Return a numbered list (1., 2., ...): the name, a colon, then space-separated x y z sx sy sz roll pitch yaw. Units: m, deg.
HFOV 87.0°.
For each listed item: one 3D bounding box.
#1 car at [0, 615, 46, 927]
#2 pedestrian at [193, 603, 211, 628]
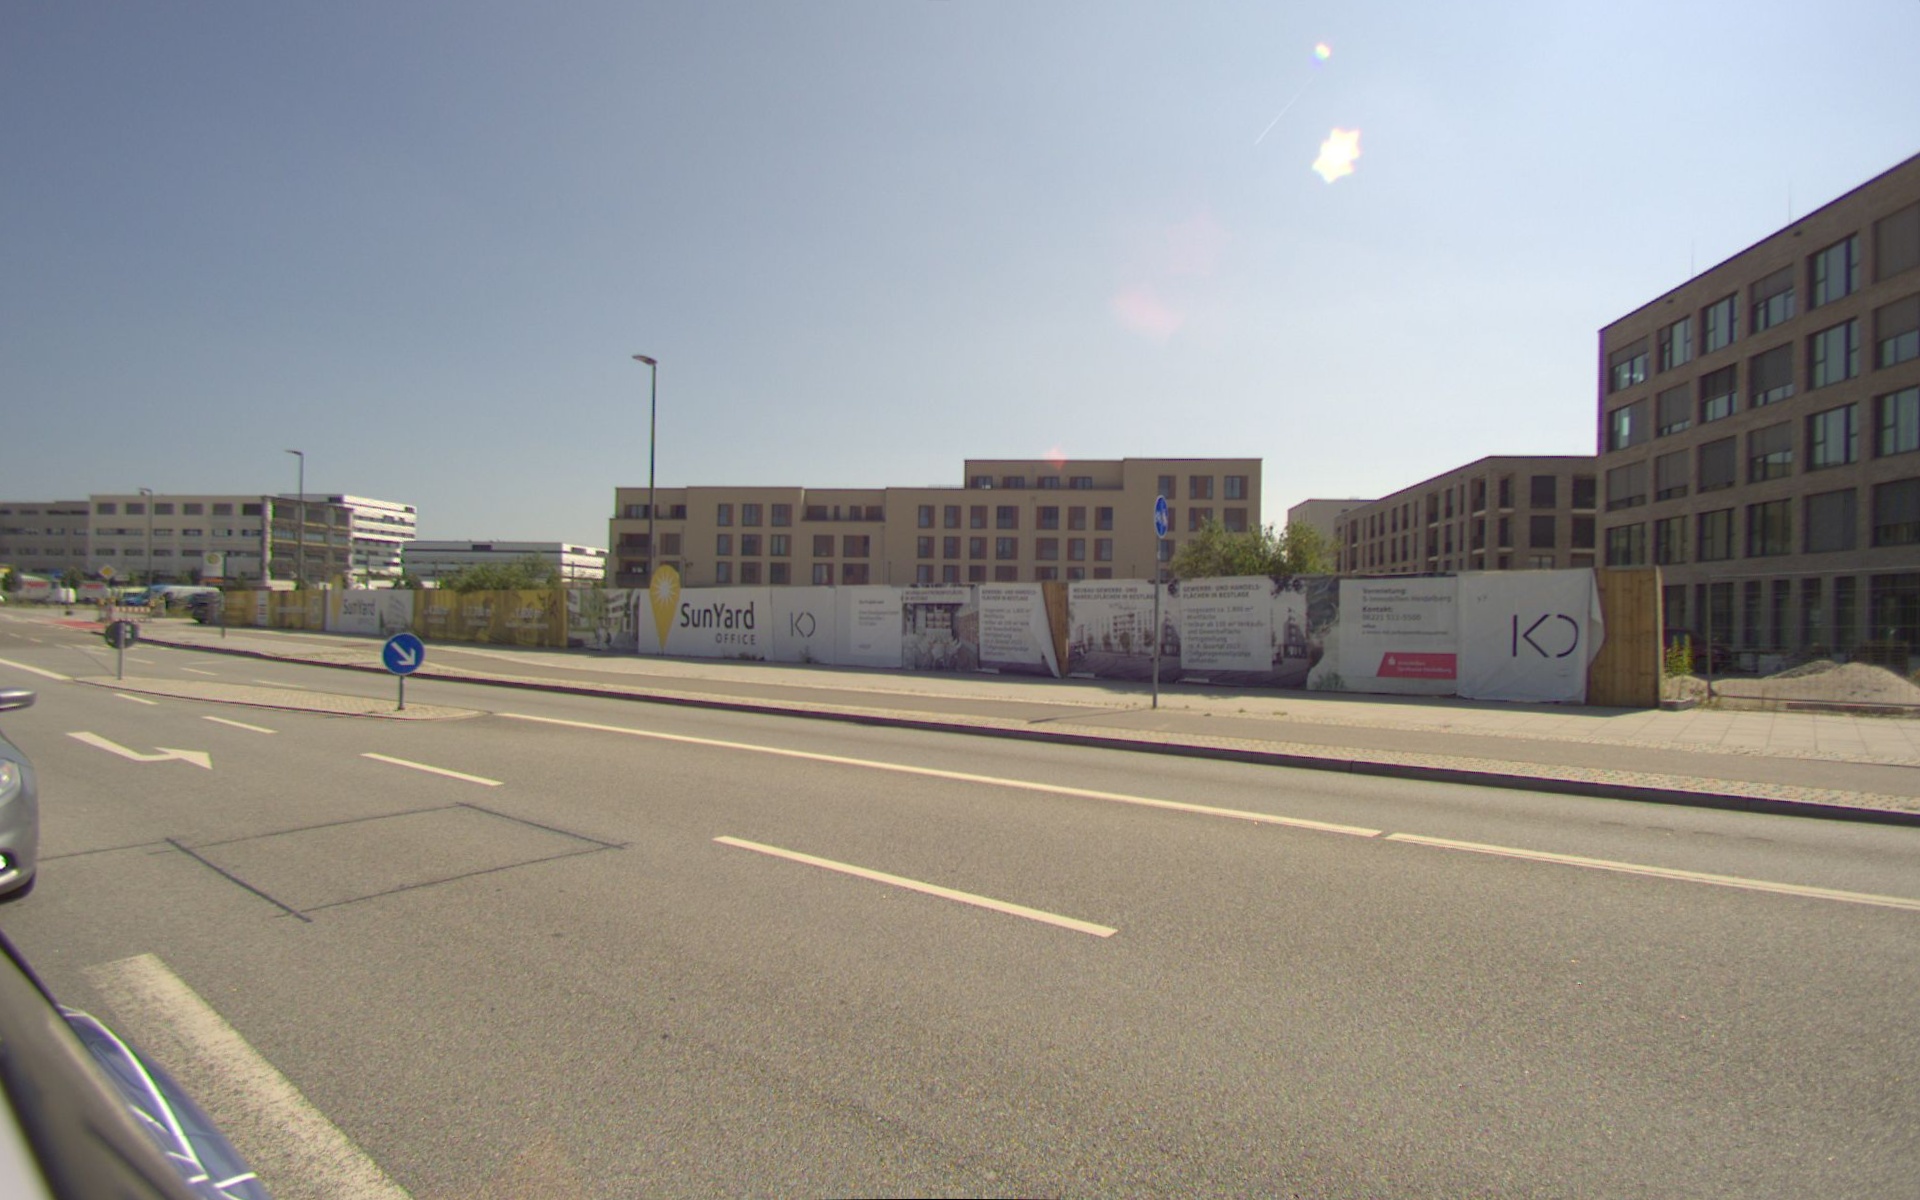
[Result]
1. car: -6.307 0.790 5.321 4.134 1.390 1.762 -1 0 41
2. pedestrian: -48.650 0.979 64.993 0.610 1.598 0.703 -1 0 5
